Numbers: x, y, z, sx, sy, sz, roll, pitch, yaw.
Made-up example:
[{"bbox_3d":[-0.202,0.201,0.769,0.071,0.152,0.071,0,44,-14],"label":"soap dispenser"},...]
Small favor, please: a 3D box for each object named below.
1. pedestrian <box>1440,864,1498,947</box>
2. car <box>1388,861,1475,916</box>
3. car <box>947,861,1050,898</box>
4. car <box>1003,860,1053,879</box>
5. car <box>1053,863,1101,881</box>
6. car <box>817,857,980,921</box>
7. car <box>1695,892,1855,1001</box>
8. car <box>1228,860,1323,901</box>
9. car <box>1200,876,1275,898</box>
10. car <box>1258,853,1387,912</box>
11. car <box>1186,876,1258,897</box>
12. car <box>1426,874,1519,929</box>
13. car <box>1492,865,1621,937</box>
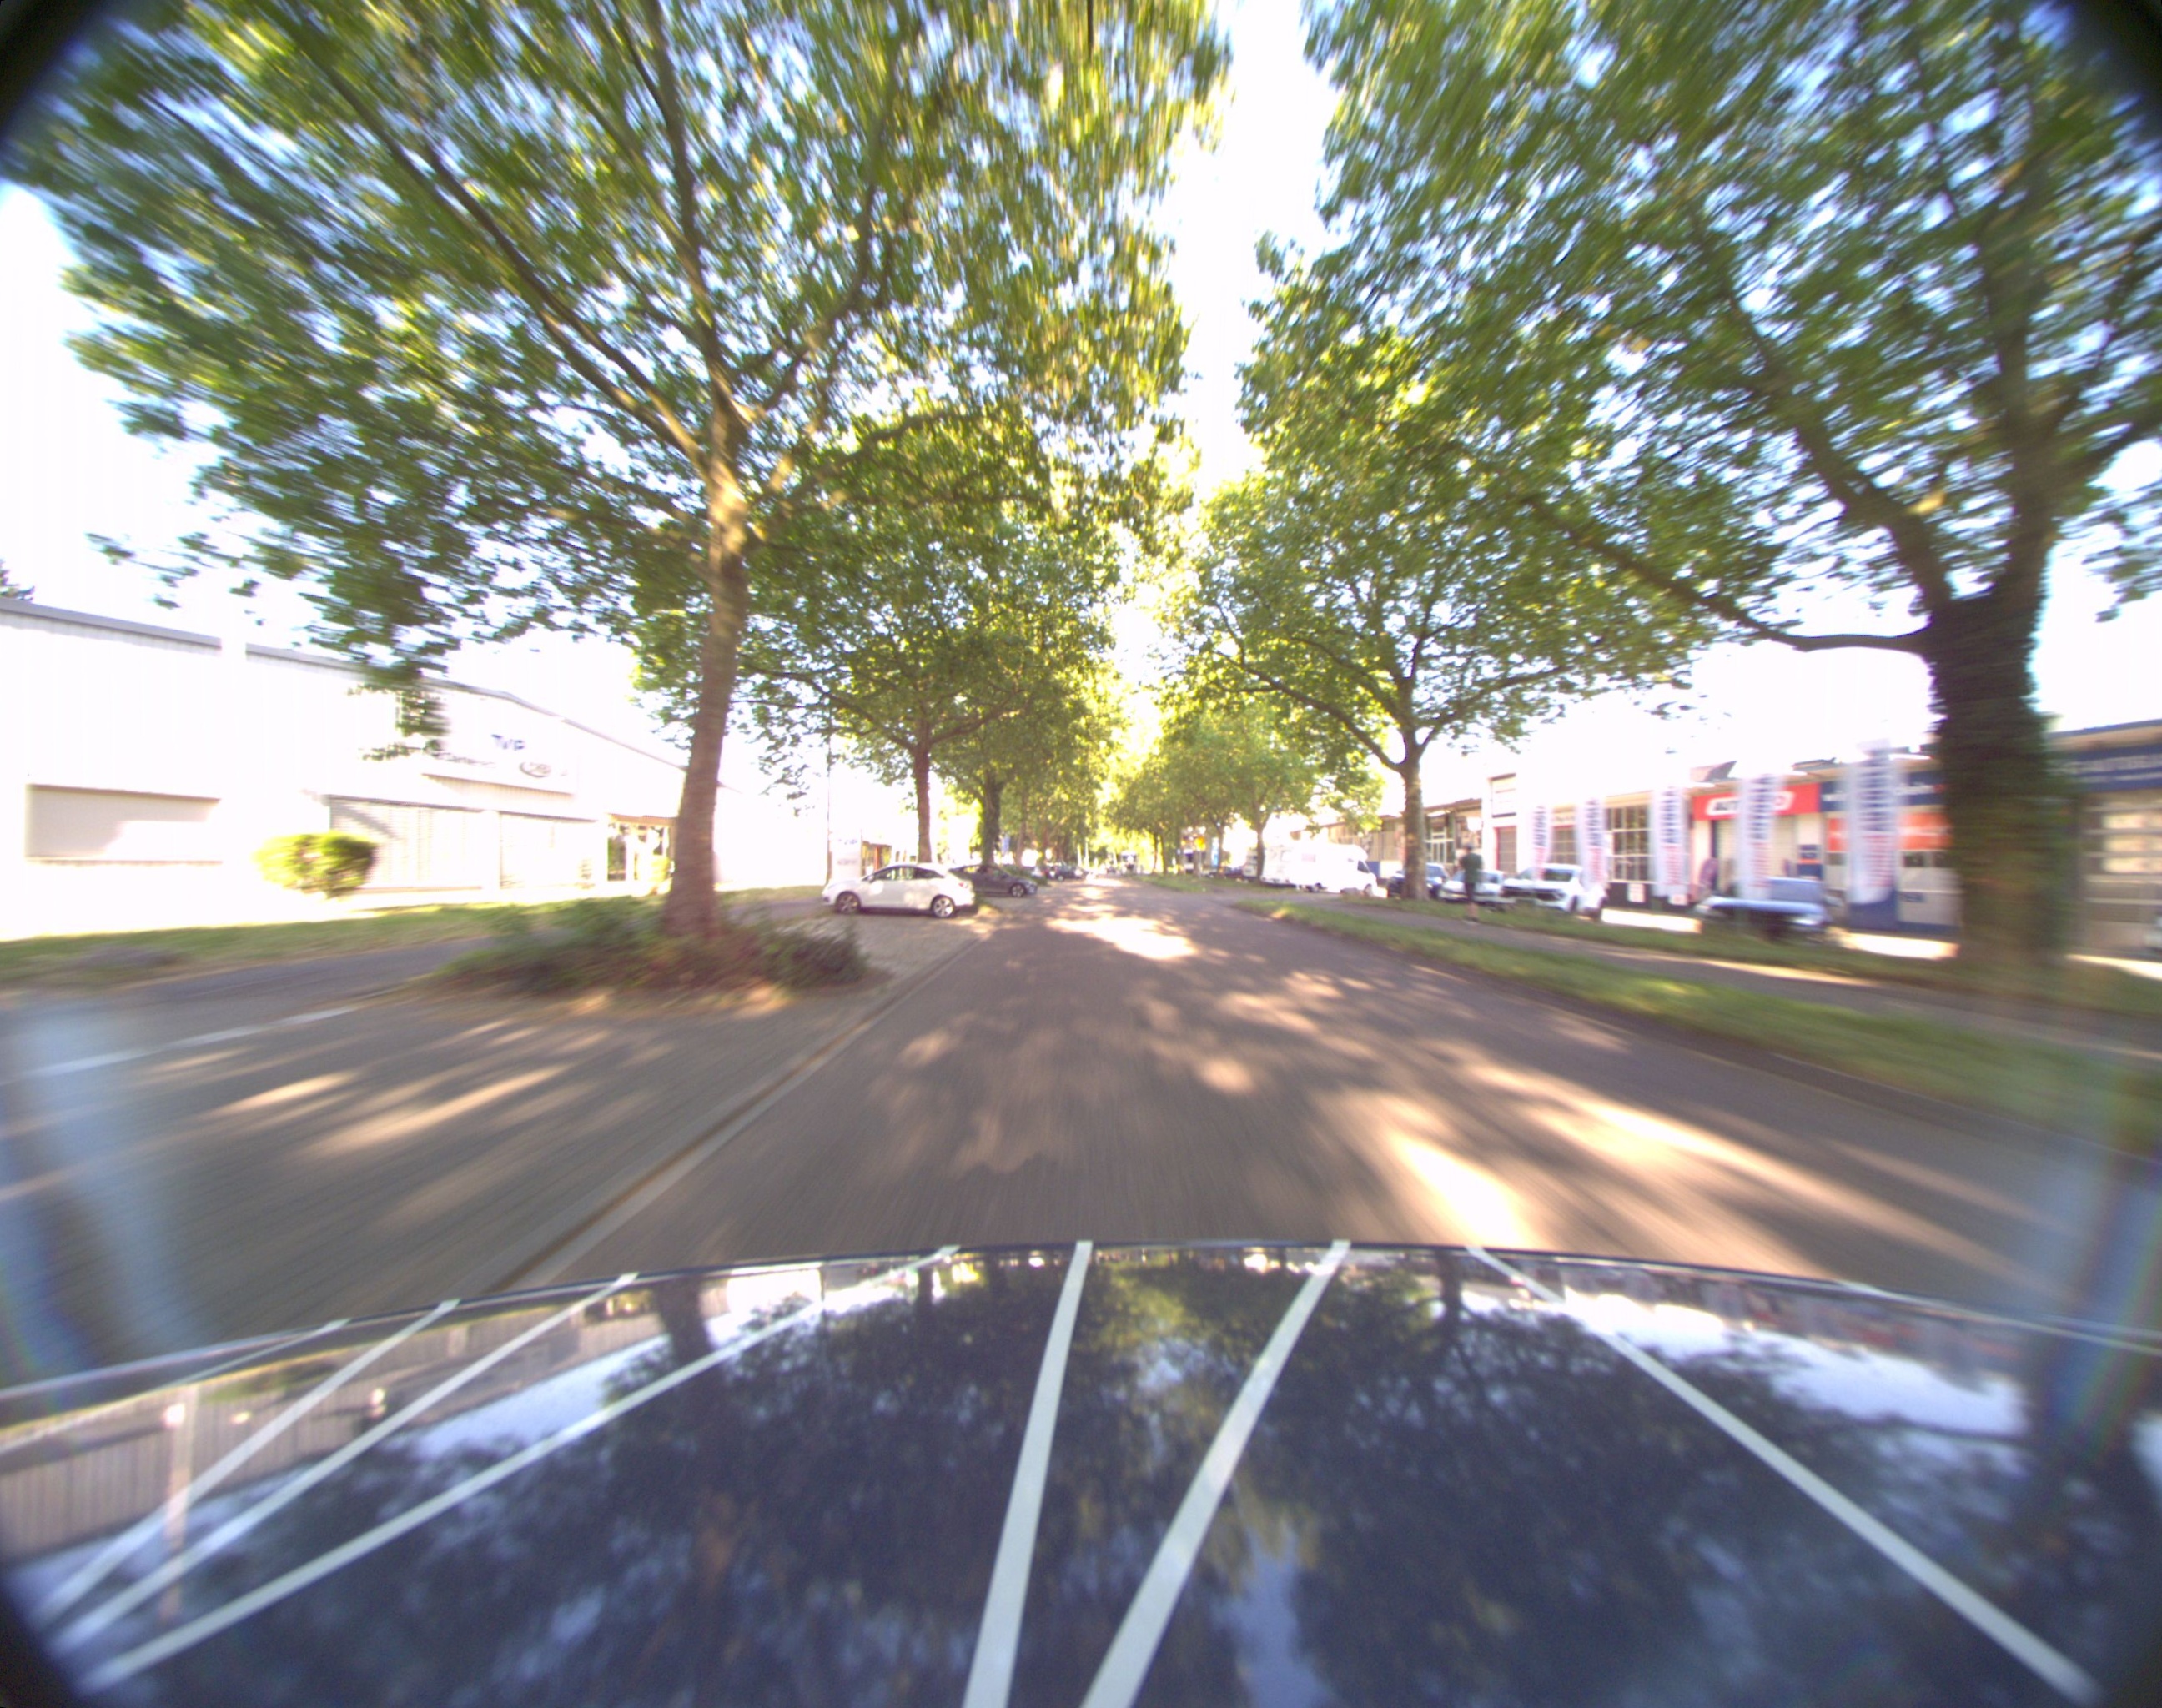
[{"bbox_3d":[8.607,1.119,16.897,0.805,1.762,0.940,-1,0,2],"label":"pedestrian"},{"bbox_3d":[13.058,1.204,28.194,1.994,1.829,4.258,-2,0,38],"label":"car"},{"bbox_3d":[-3.674,1.108,34.093,4.405,1.410,1.999,3,-1,-4],"label":"car"},{"bbox_3d":[-4.736,1.357,67.469,4.299,1.410,1.999,3,-1,-4],"label":"car"},{"bbox_3d":[-0.330,1.641,69.962,4.296,1.410,2.001,3,-1,4],"label":"car"},{"bbox_3d":[-4.850,0.911,20.590,3.944,1.504,1.667,2,0,0],"label":"car"},{"bbox_3d":[13.155,1.602,14.350,3.850,1.565,1.994,-1,-1,-45],"label":"car"},{"bbox_3d":[13.697,1.904,53.429,6.338,2.481,2.596,5,-3,-28],"label":"car"},{"bbox_3d":[14.794,3.110,71.888,6.429,1.669,2.723,4,-3,-18],"label":"car"},{"bbox_3d":[13.525,1.643,42.405,6.972,2.835,2.596,5,-3,-27],"label":"car"},{"bbox_3d":[13.857,3.163,74.710,6.377,1.669,2.723,4,-3,-18],"label":"car"},{"bbox_3d":[12.966,1.490,25.036,1.994,1.561,4.060,-2,-1,38],"label":"car"},{"bbox_3d":[13.529,1.232,21.525,4.321,1.740,1.995,-1,0,-43],"label":"car"}]
